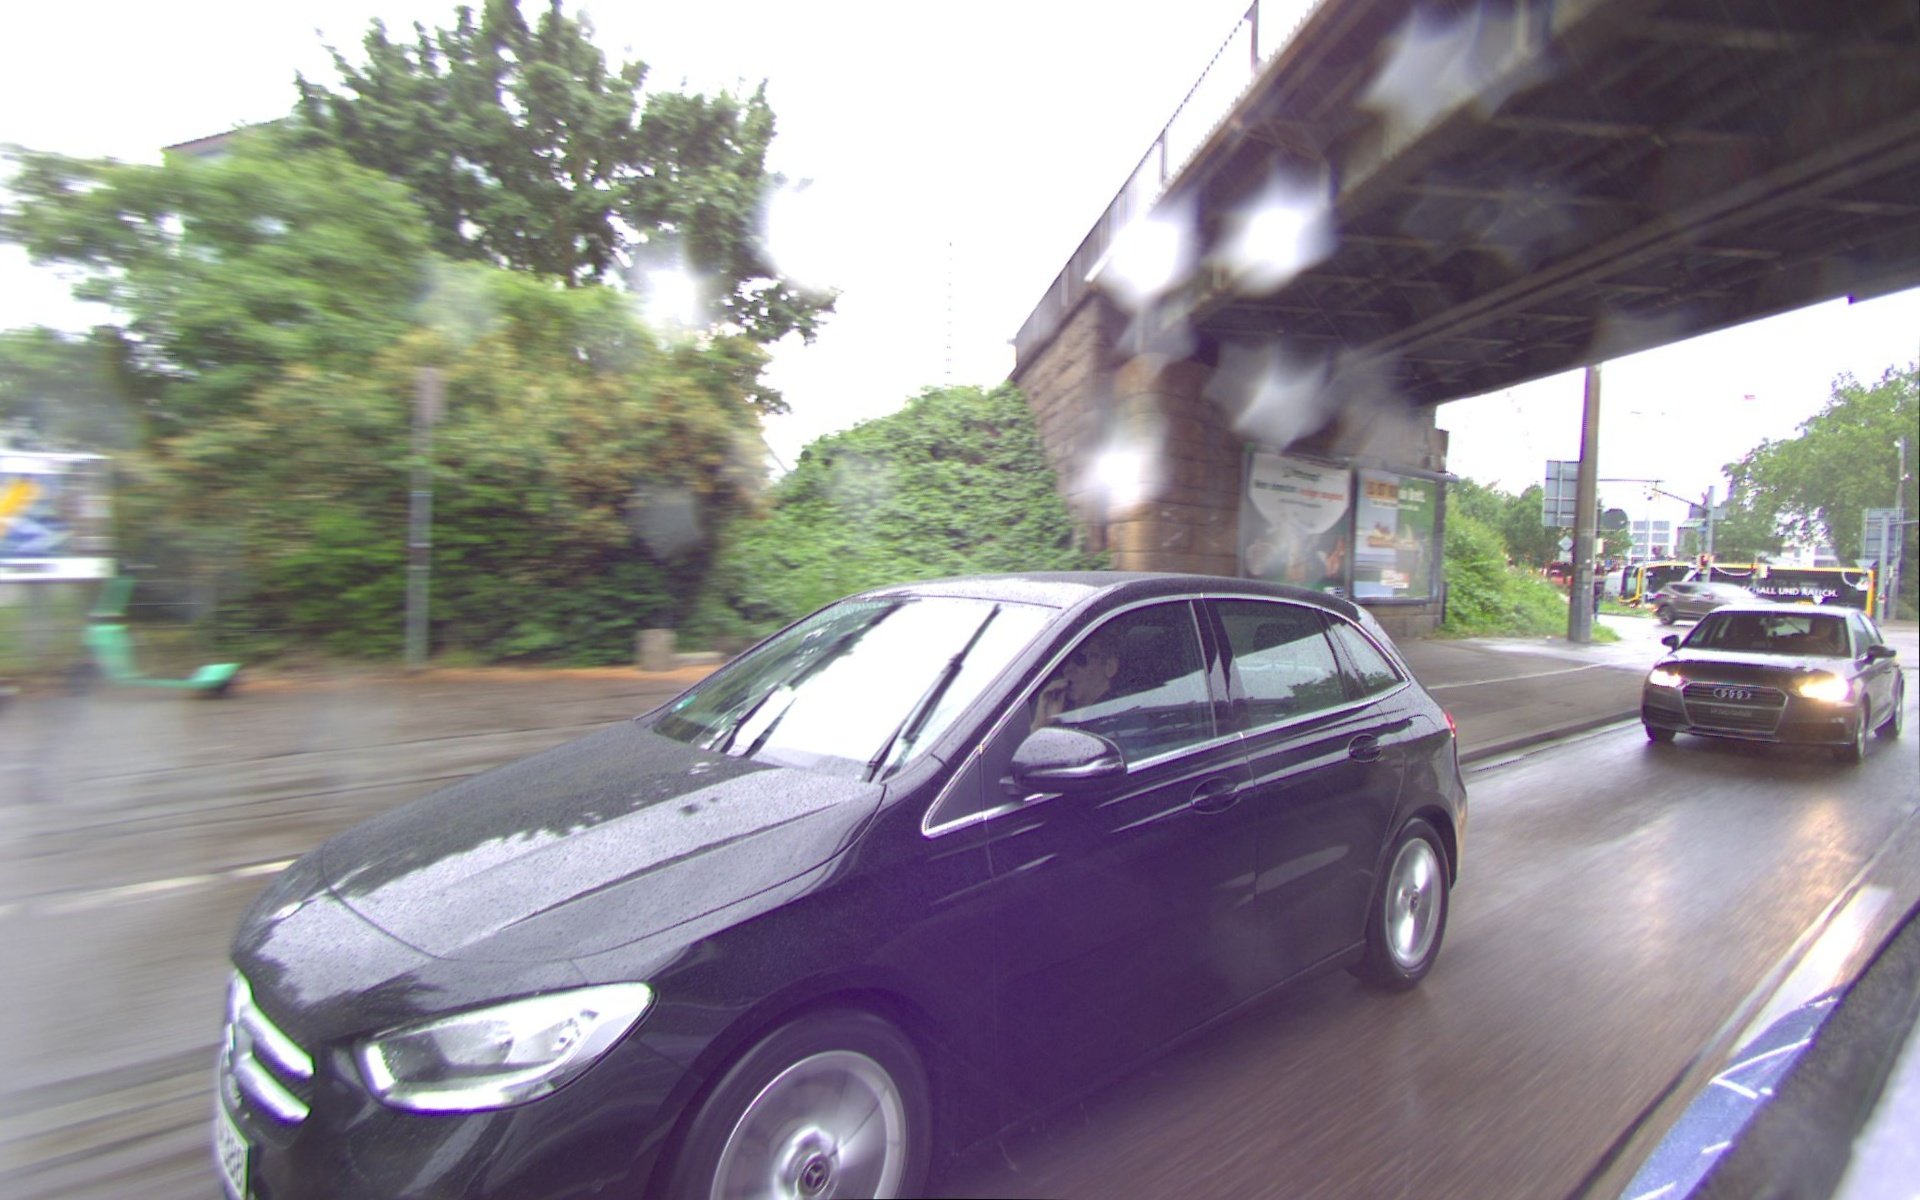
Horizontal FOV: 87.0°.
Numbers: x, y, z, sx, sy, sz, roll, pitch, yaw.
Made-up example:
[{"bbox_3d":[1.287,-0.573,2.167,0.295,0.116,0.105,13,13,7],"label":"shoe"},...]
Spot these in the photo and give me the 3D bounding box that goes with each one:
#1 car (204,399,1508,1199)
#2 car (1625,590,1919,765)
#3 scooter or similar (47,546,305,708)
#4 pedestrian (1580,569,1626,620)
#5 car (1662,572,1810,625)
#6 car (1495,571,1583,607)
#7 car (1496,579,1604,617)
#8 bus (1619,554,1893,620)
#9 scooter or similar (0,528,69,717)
[{"bbox_3d":[0.055,0.445,3.400,4.017,1.542,1.874,0,3,-42],"label":"car"},{"bbox_3d":[8.524,0.634,10.387,3.687,1.415,1.840,-1,2,-40],"label":"car"},{"bbox_3d":[-6.346,0.207,8.293,1.515,1.192,0.775,1,4,-23],"label":"scooter or similar"},{"bbox_3d":[22.591,-0.210,35.547,0.984,1.740,0.822,2,2,-14],"label":"pedestrian"},{"bbox_3d":[28.593,-0.100,37.465,1.988,1.677,4.068,2,3,-6],"label":"car"},{"bbox_3d":[32.173,-0.644,56.380,2.133,1.741,4.308,2,3,-4],"label":"car"},{"bbox_3d":[25.236,-0.135,43.428,1.860,1.365,4.008,1,3,-8],"label":"car"},{"bbox_3d":[46.418,-0.880,59.605,12.125,3.308,3.257,3,2,18],"label":"bus"},{"bbox_3d":[-7.718,0.139,7.503,1.528,1.325,0.711,2,6,0],"label":"scooter or similar"}]
